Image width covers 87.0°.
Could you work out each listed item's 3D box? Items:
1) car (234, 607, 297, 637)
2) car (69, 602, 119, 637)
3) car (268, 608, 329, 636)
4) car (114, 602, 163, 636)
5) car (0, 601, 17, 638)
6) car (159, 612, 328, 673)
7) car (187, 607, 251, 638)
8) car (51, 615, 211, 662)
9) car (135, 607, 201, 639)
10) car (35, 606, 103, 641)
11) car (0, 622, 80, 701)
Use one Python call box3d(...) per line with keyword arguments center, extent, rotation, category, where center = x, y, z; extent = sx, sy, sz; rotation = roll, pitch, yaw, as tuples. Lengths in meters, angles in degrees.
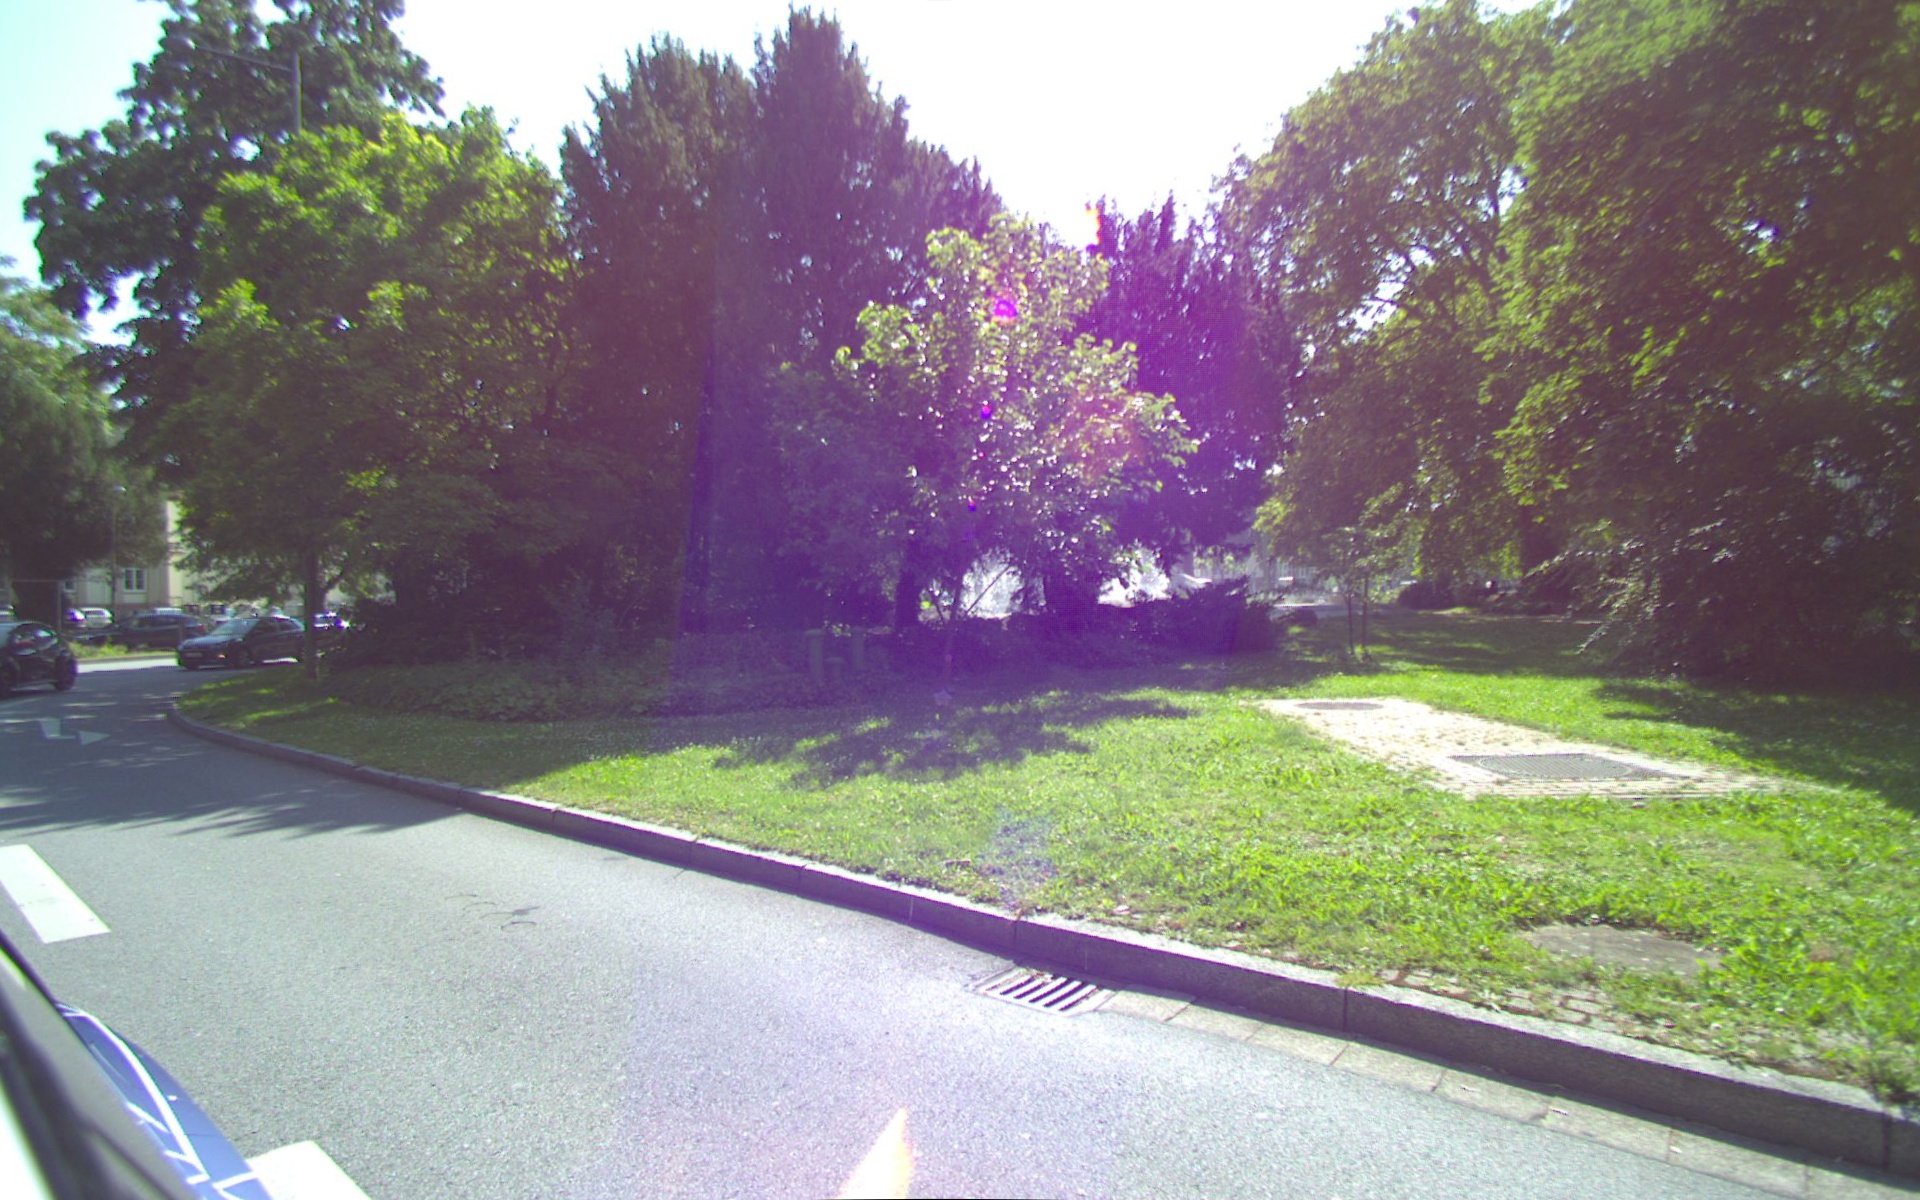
box3d(center=(-40.537, 1.278, 59.062), extent=(3.992, 1.674, 1.829), rotation=(-1, -1, 36), category="car")
box3d(center=(-52.784, 1.177, 61.679), extent=(4.000, 2.029, 1.826), rotation=(-2, -1, 43), category="car")
box3d(center=(-39.962, 1.342, 61.100), extent=(3.992, 1.590, 1.829), rotation=(-1, -1, 36), category="car")
box3d(center=(-51.303, 1.190, 63.173), extent=(4.000, 2.029, 1.826), rotation=(-2, -1, 43), category="car")
box3d(center=(-54.613, 1.129, 57.053), extent=(4.000, 2.029, 1.826), rotation=(-2, -1, 43), category="car")
box3d(center=(-21.592, 1.239, 30.722), extent=(1.869, 1.697, 4.132), rotation=(1, -1, 7), category="car")
box3d(center=(-41.841, 1.259, 57.107), extent=(3.992, 1.674, 1.829), rotation=(-1, -1, 36), category="car")
box3d(center=(-31.111, 1.398, 38.126), extent=(1.680, 1.566, 4.369), rotation=(-2, 0, 33), category="car")
box3d(center=(-43.054, 1.238, 55.010), extent=(3.992, 1.674, 1.829), rotation=(-1, -1, 36), category="car")
box3d(center=(-45.819, 1.212, 52.034), extent=(3.992, 1.674, 1.829), rotation=(-1, -1, 36), category="car")
box3d(center=(-19.278, 1.196, 19.801), extent=(1.780, 1.462, 3.966), rotation=(-1, 0, -20), category="car")
